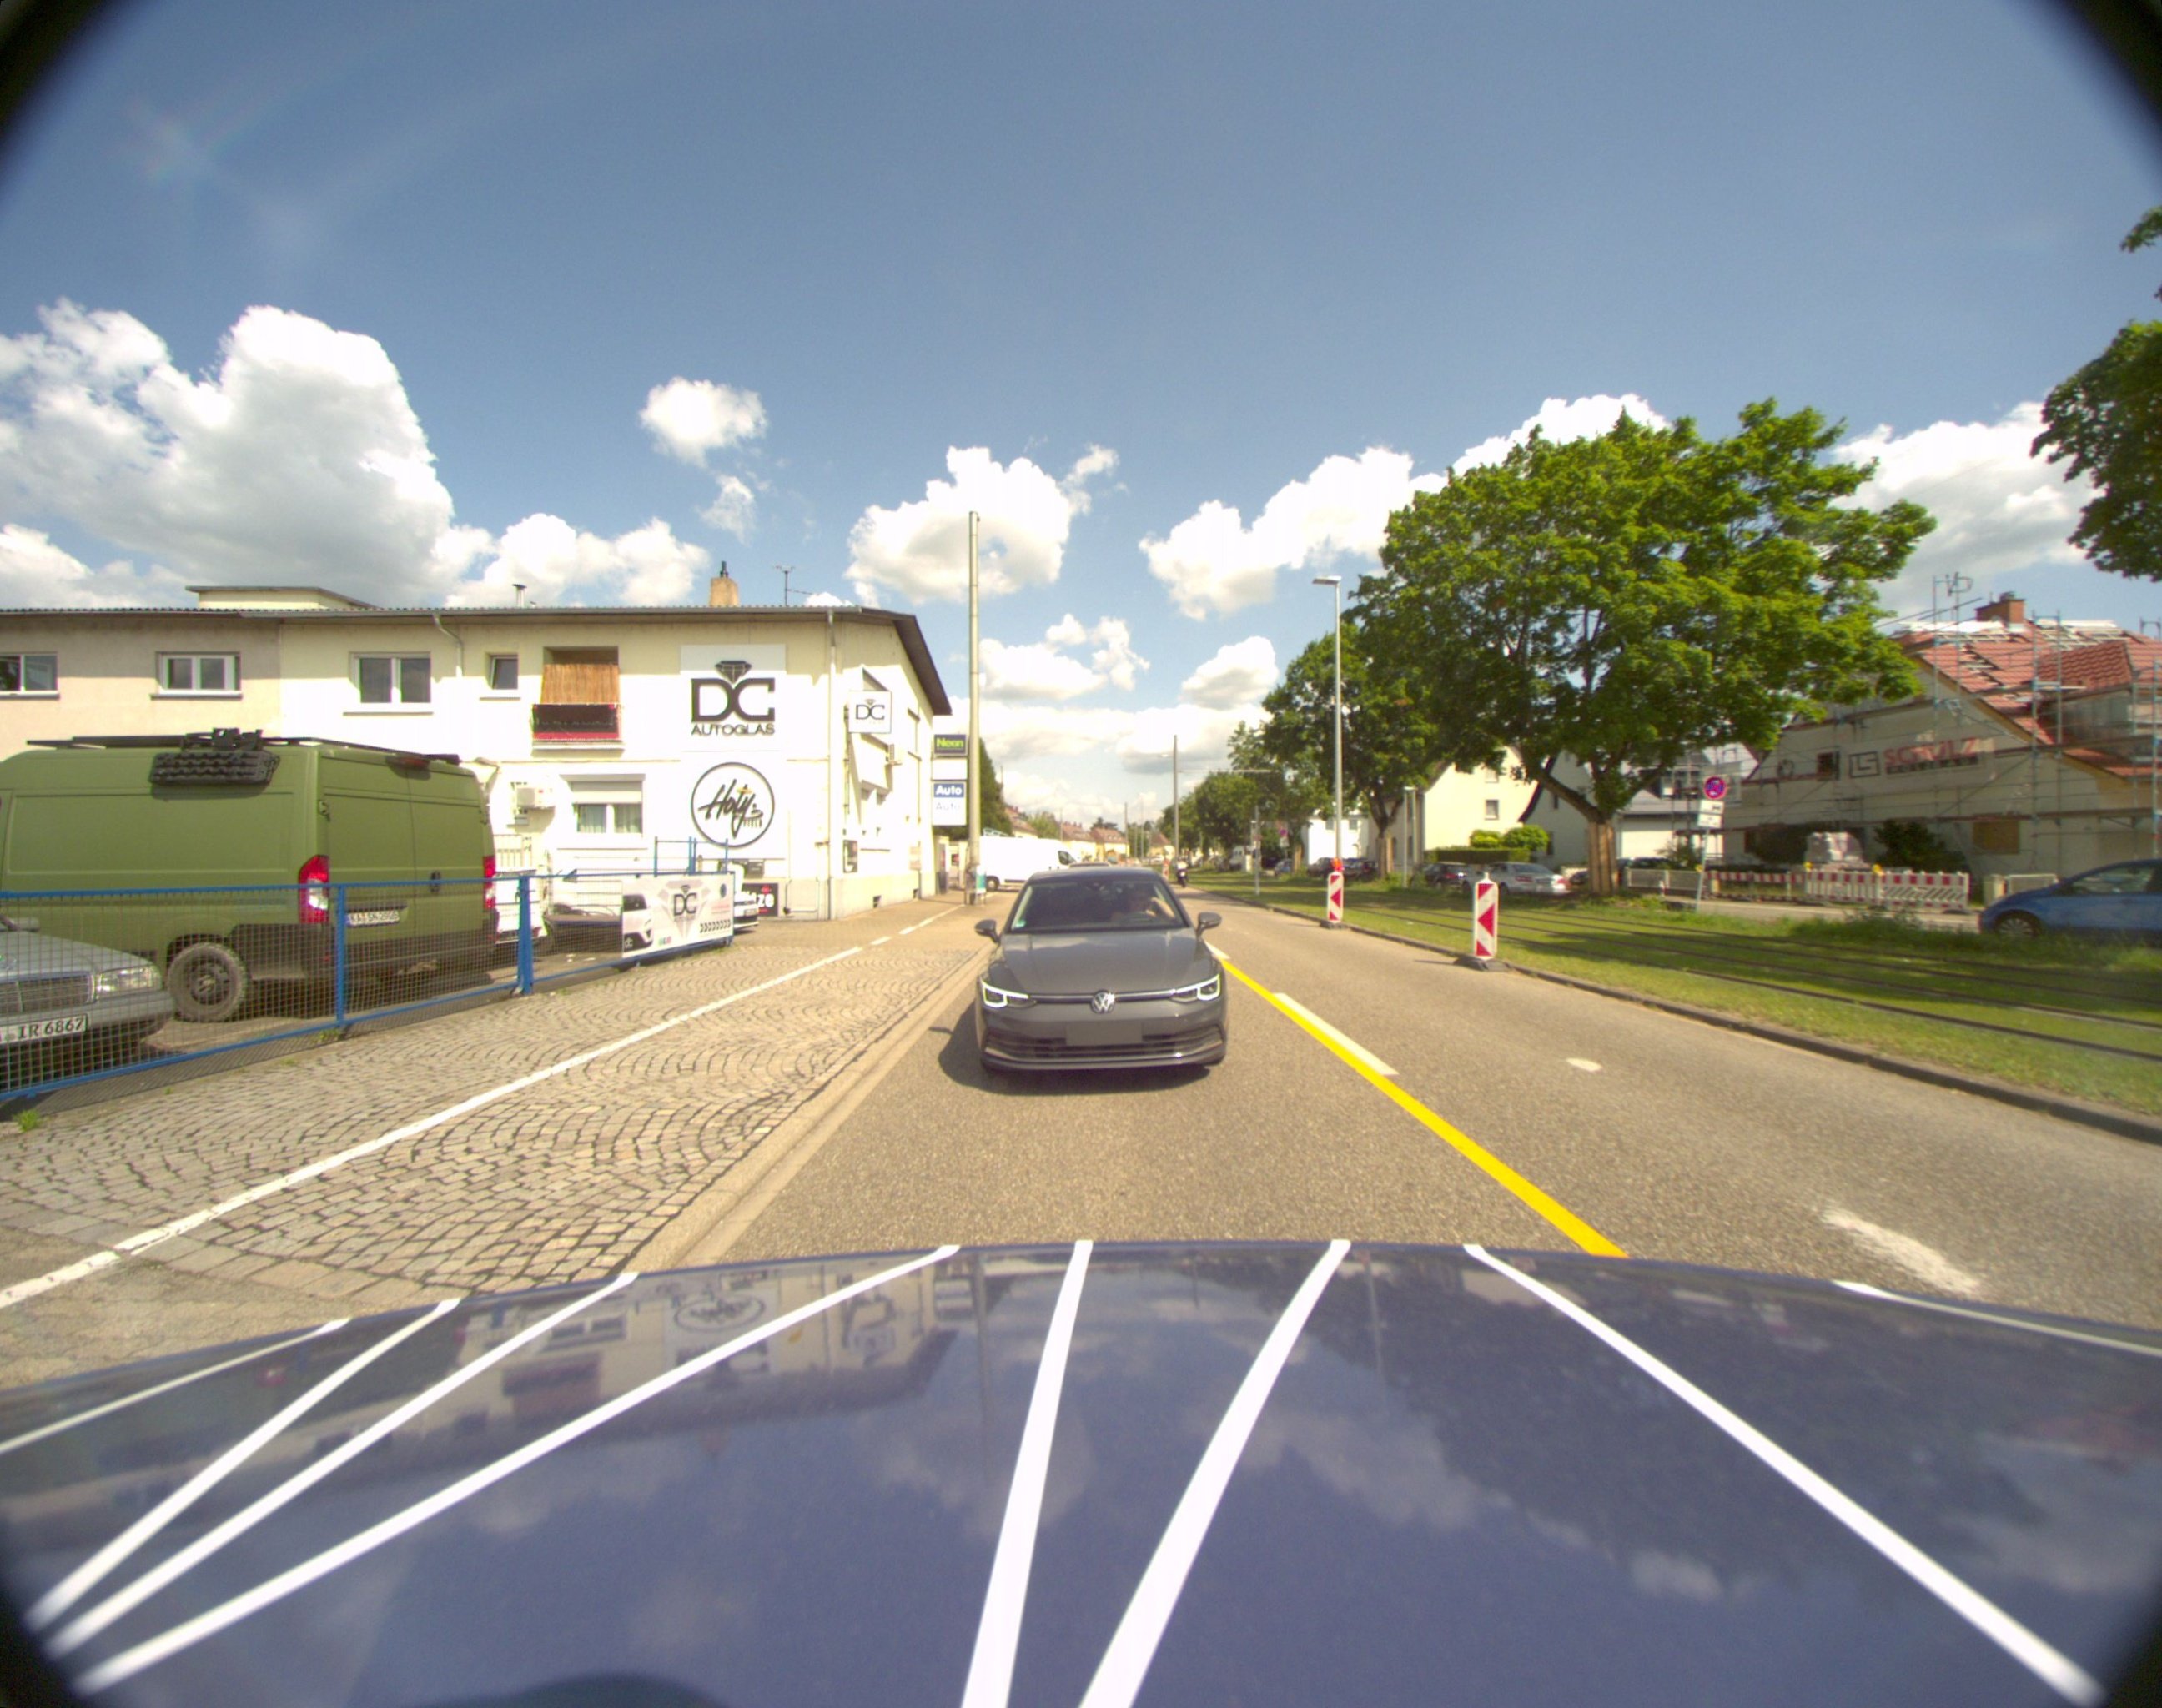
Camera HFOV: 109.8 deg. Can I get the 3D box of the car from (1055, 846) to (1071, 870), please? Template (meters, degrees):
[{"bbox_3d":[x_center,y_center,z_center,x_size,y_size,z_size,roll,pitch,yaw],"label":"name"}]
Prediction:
[{"bbox_3d":[-1.911,0.450,82.443,1.702,2.510,5.144,0,0,0],"label":"car"}]

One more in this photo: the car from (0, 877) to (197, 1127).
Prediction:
[{"bbox_3d":[-8.458,0.888,4.778,4.282,1.444,1.713,0,0,8],"label":"car"}]

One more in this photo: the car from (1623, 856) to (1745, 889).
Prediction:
[{"bbox_3d":[28.907,0.890,36.514,4.402,1.477,1.704,-1,-1,1],"label":"car"}]

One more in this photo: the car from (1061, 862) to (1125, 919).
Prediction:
[{"bbox_3d":[0.357,1.009,22.340,1.702,1.477,4.000,0,0,1],"label":"car"}]

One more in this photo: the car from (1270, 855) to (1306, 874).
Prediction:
[{"bbox_3d":[16.645,0.876,61.285,1.702,1.477,4.407,-1,-1,1],"label":"car"}]

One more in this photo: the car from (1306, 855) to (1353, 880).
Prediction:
[{"bbox_3d":[16.522,0.900,50.665,1.702,1.562,4.407,-1,-1,1],"label":"car"}]

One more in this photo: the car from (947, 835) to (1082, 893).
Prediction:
[{"bbox_3d":[-3.070,0.467,34.946,5.845,2.449,2.089,2,0,-15],"label":"car"}]

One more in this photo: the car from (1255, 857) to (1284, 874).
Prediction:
[{"bbox_3d":[17.648,1.078,71.330,1.702,1.477,4.407,-1,-1,1],"label":"car"}]

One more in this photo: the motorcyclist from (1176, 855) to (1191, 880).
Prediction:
[{"bbox_3d":[5.247,0.692,38.873,0.658,1.284,0.780,0,0,2],"label":"motorcyclist"}]

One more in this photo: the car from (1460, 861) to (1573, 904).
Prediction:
[{"bbox_3d":[16.421,1.067,28.956,1.788,1.477,4.523,-1,-1,2],"label":"car"}]

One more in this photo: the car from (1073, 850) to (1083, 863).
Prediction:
[{"bbox_3d":[-0.485,0.422,136.407,1.701,2.233,4.947,0,0,2],"label":"car"}]

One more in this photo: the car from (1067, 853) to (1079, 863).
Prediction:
[{"bbox_3d":[-1.312,0.674,123.044,1.701,1.574,4.001,0,0,3],"label":"car"}]

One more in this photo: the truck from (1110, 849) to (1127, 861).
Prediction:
[{"bbox_3d":[9.917,0.146,201.054,2.710,3.119,8.124,0,0,15],"label":"truck"}]

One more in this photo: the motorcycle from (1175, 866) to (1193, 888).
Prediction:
[{"bbox_3d":[5.257,1.167,38.867,0.658,1.040,2.111,0,0,2],"label":"motorcycle"}]

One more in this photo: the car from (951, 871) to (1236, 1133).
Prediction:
[{"bbox_3d":[0.104,0.936,6.552,1.702,1.477,4.000,0,0,1],"label":"car"}]

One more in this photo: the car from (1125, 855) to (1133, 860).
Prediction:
[{"bbox_3d":[13.827,0.948,218.686,1.700,1.574,4.005,0,0,16],"label":"car"}]

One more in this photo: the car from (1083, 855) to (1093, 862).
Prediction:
[{"bbox_3d":[1.447,0.908,155.841,1.701,1.574,4.002,0,0,7],"label":"car"}]

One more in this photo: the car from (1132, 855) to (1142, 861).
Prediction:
[{"bbox_3d":[14.211,0.956,192.711,2.116,1.477,4.410,0,0,13],"label":"car"}]

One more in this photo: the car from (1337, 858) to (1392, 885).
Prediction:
[{"bbox_3d":[16.771,1.036,45.159,1.702,1.477,4.407,-1,-1,1],"label":"car"}]

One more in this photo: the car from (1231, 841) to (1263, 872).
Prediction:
[{"bbox_3d":[16.818,0.274,77.245,2.136,3.019,5.084,-1,-1,1],"label":"car"}]

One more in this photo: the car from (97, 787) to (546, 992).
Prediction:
[{"bbox_3d":[-9.501,0.419,9.718,4.207,2.392,1.586,0,0,2],"label":"car"}]

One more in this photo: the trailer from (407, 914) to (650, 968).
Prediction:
[{"bbox_3d":[-8.367,1.307,11.664,2.733,0.662,1.329,0,0,-1],"label":"trailer"}]

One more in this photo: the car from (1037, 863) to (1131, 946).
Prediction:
[{"bbox_3d":[0.080,0.941,15.839,1.702,1.477,4.000,0,0,1],"label":"car"}]

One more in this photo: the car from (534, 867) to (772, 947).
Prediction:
[{"bbox_3d":[-8.247,1.002,14.840,3.775,1.454,1.555,0,0,2],"label":"car"}]

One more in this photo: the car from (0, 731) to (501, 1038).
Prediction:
[{"bbox_3d":[-8.725,0.271,7.613,4.207,2.627,2.113,0,0,2],"label":"car"}]

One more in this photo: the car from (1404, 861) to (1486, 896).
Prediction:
[{"bbox_3d":[16.626,1.121,34.941,1.702,1.477,4.407,-1,-1,1],"label":"car"}]

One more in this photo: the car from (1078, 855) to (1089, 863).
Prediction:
[{"bbox_3d":[0.489,0.905,146.711,1.701,1.574,4.002,0,0,6],"label":"car"}]

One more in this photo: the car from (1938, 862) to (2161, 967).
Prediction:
[{"bbox_3d":[16.194,0.866,11.403,1.702,1.477,4.407,-1,-1,1],"label":"car"}]
